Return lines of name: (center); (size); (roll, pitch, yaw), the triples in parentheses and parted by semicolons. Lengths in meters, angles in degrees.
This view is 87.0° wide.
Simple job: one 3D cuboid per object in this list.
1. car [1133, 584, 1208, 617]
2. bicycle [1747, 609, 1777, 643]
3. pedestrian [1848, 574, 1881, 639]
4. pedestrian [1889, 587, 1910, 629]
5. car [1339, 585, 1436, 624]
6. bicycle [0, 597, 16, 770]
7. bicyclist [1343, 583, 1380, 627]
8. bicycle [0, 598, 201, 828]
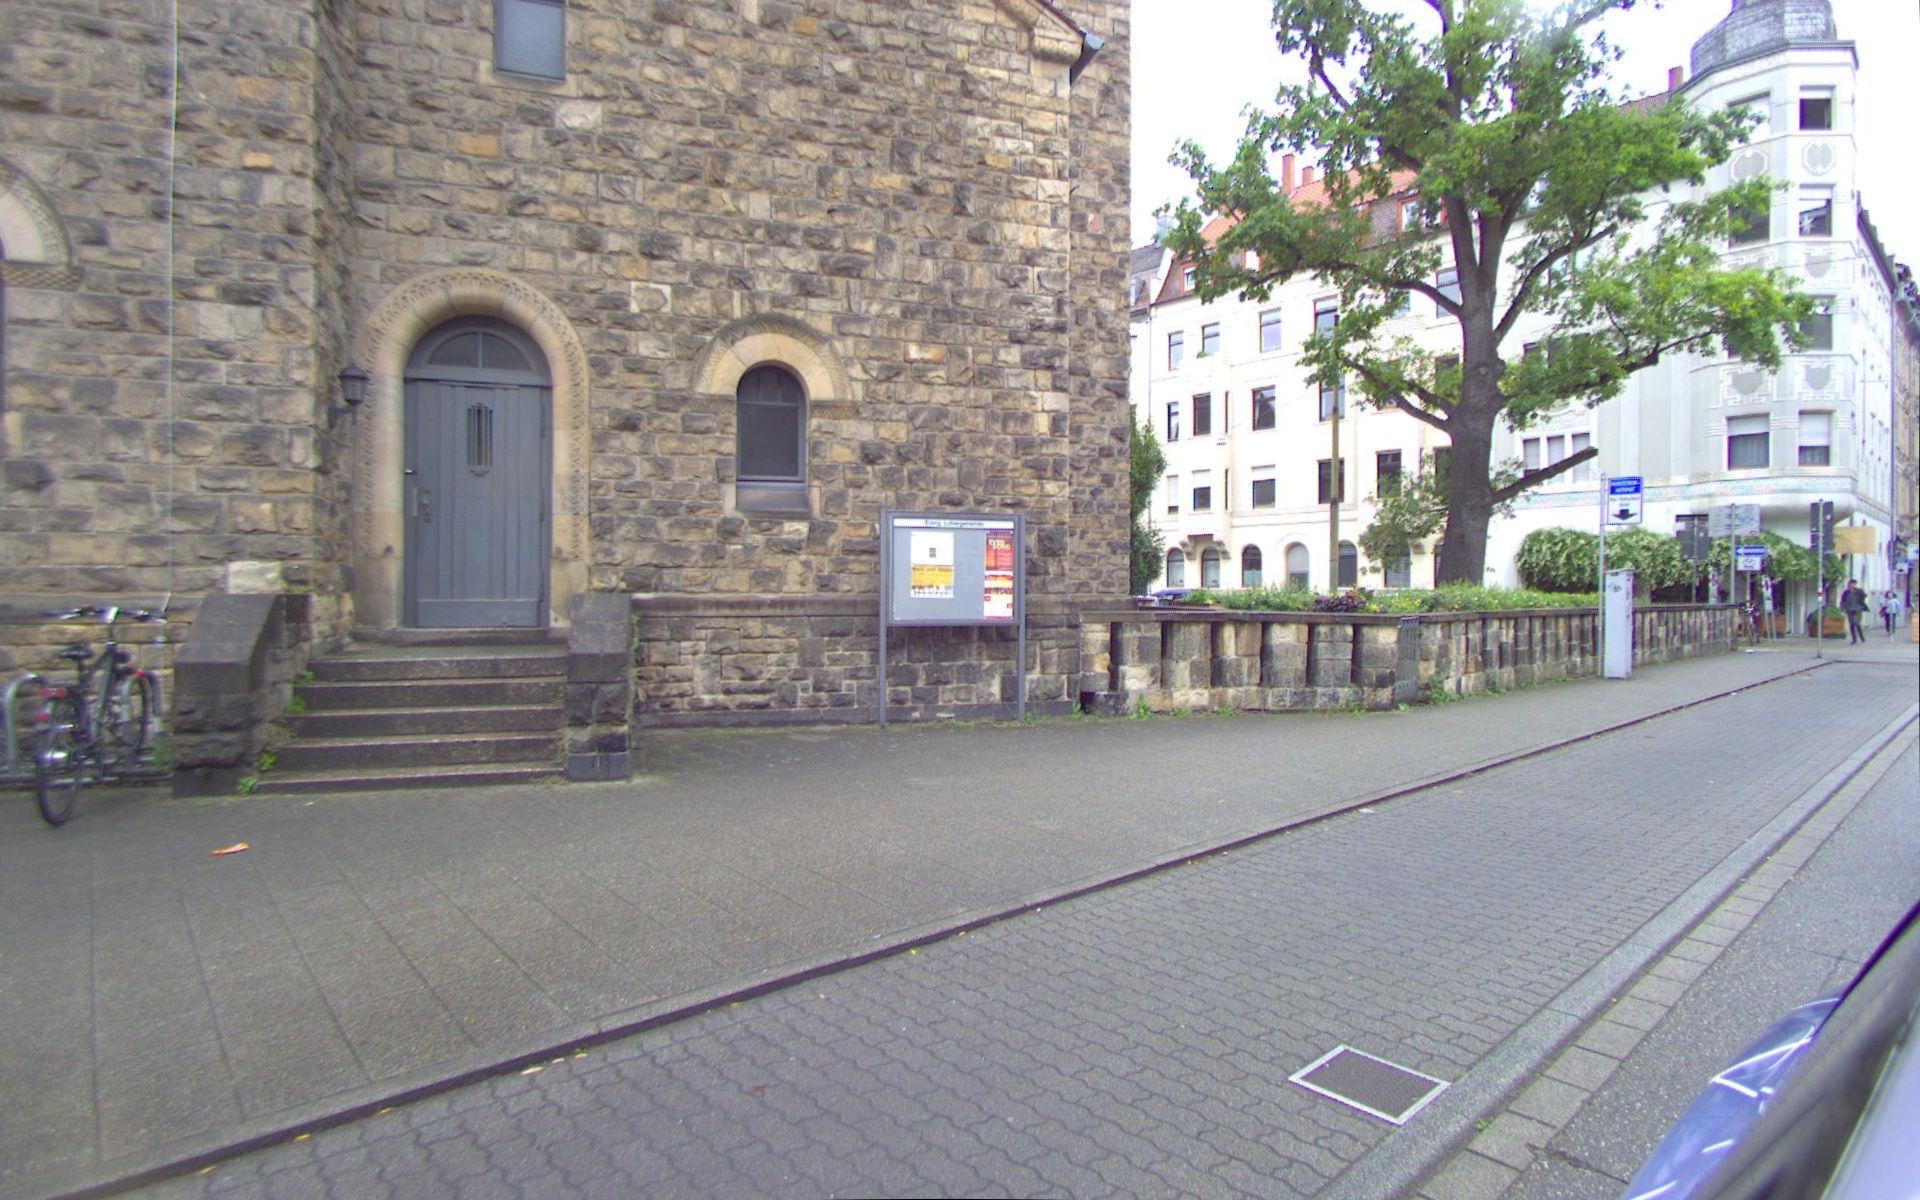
car: (9.821, -0.008, 47.355); (1.421, 1.427, 3.271); (0, 1, -38)
bicycle: (24.487, 0.766, 30.888); (1.990, 0.904, 0.390); (-3, 3, -42)
pedestrian: (27.233, 0.186, 30.473); (0.681, 1.896, 0.645); (0, 1, -42)
pedestrian: (33.905, 0.289, 36.524); (0.385, 1.479, 0.481); (0, 1, -42)
car: (16.899, 0.132, 40.095); (1.421, 1.427, 3.271); (0, 1, -38)
bicycle: (-6.273, 0.583, 5.973); (0.550, 1.125, 1.717); (0, 3, -27)
bicyclist: (14.652, 0.171, 36.914); (0.527, 1.549, 1.134); (0, 0, -38)
bicycle: (-5.099, 0.567, 6.080); (0.502, 1.067, 1.994); (0, 3, -27)
